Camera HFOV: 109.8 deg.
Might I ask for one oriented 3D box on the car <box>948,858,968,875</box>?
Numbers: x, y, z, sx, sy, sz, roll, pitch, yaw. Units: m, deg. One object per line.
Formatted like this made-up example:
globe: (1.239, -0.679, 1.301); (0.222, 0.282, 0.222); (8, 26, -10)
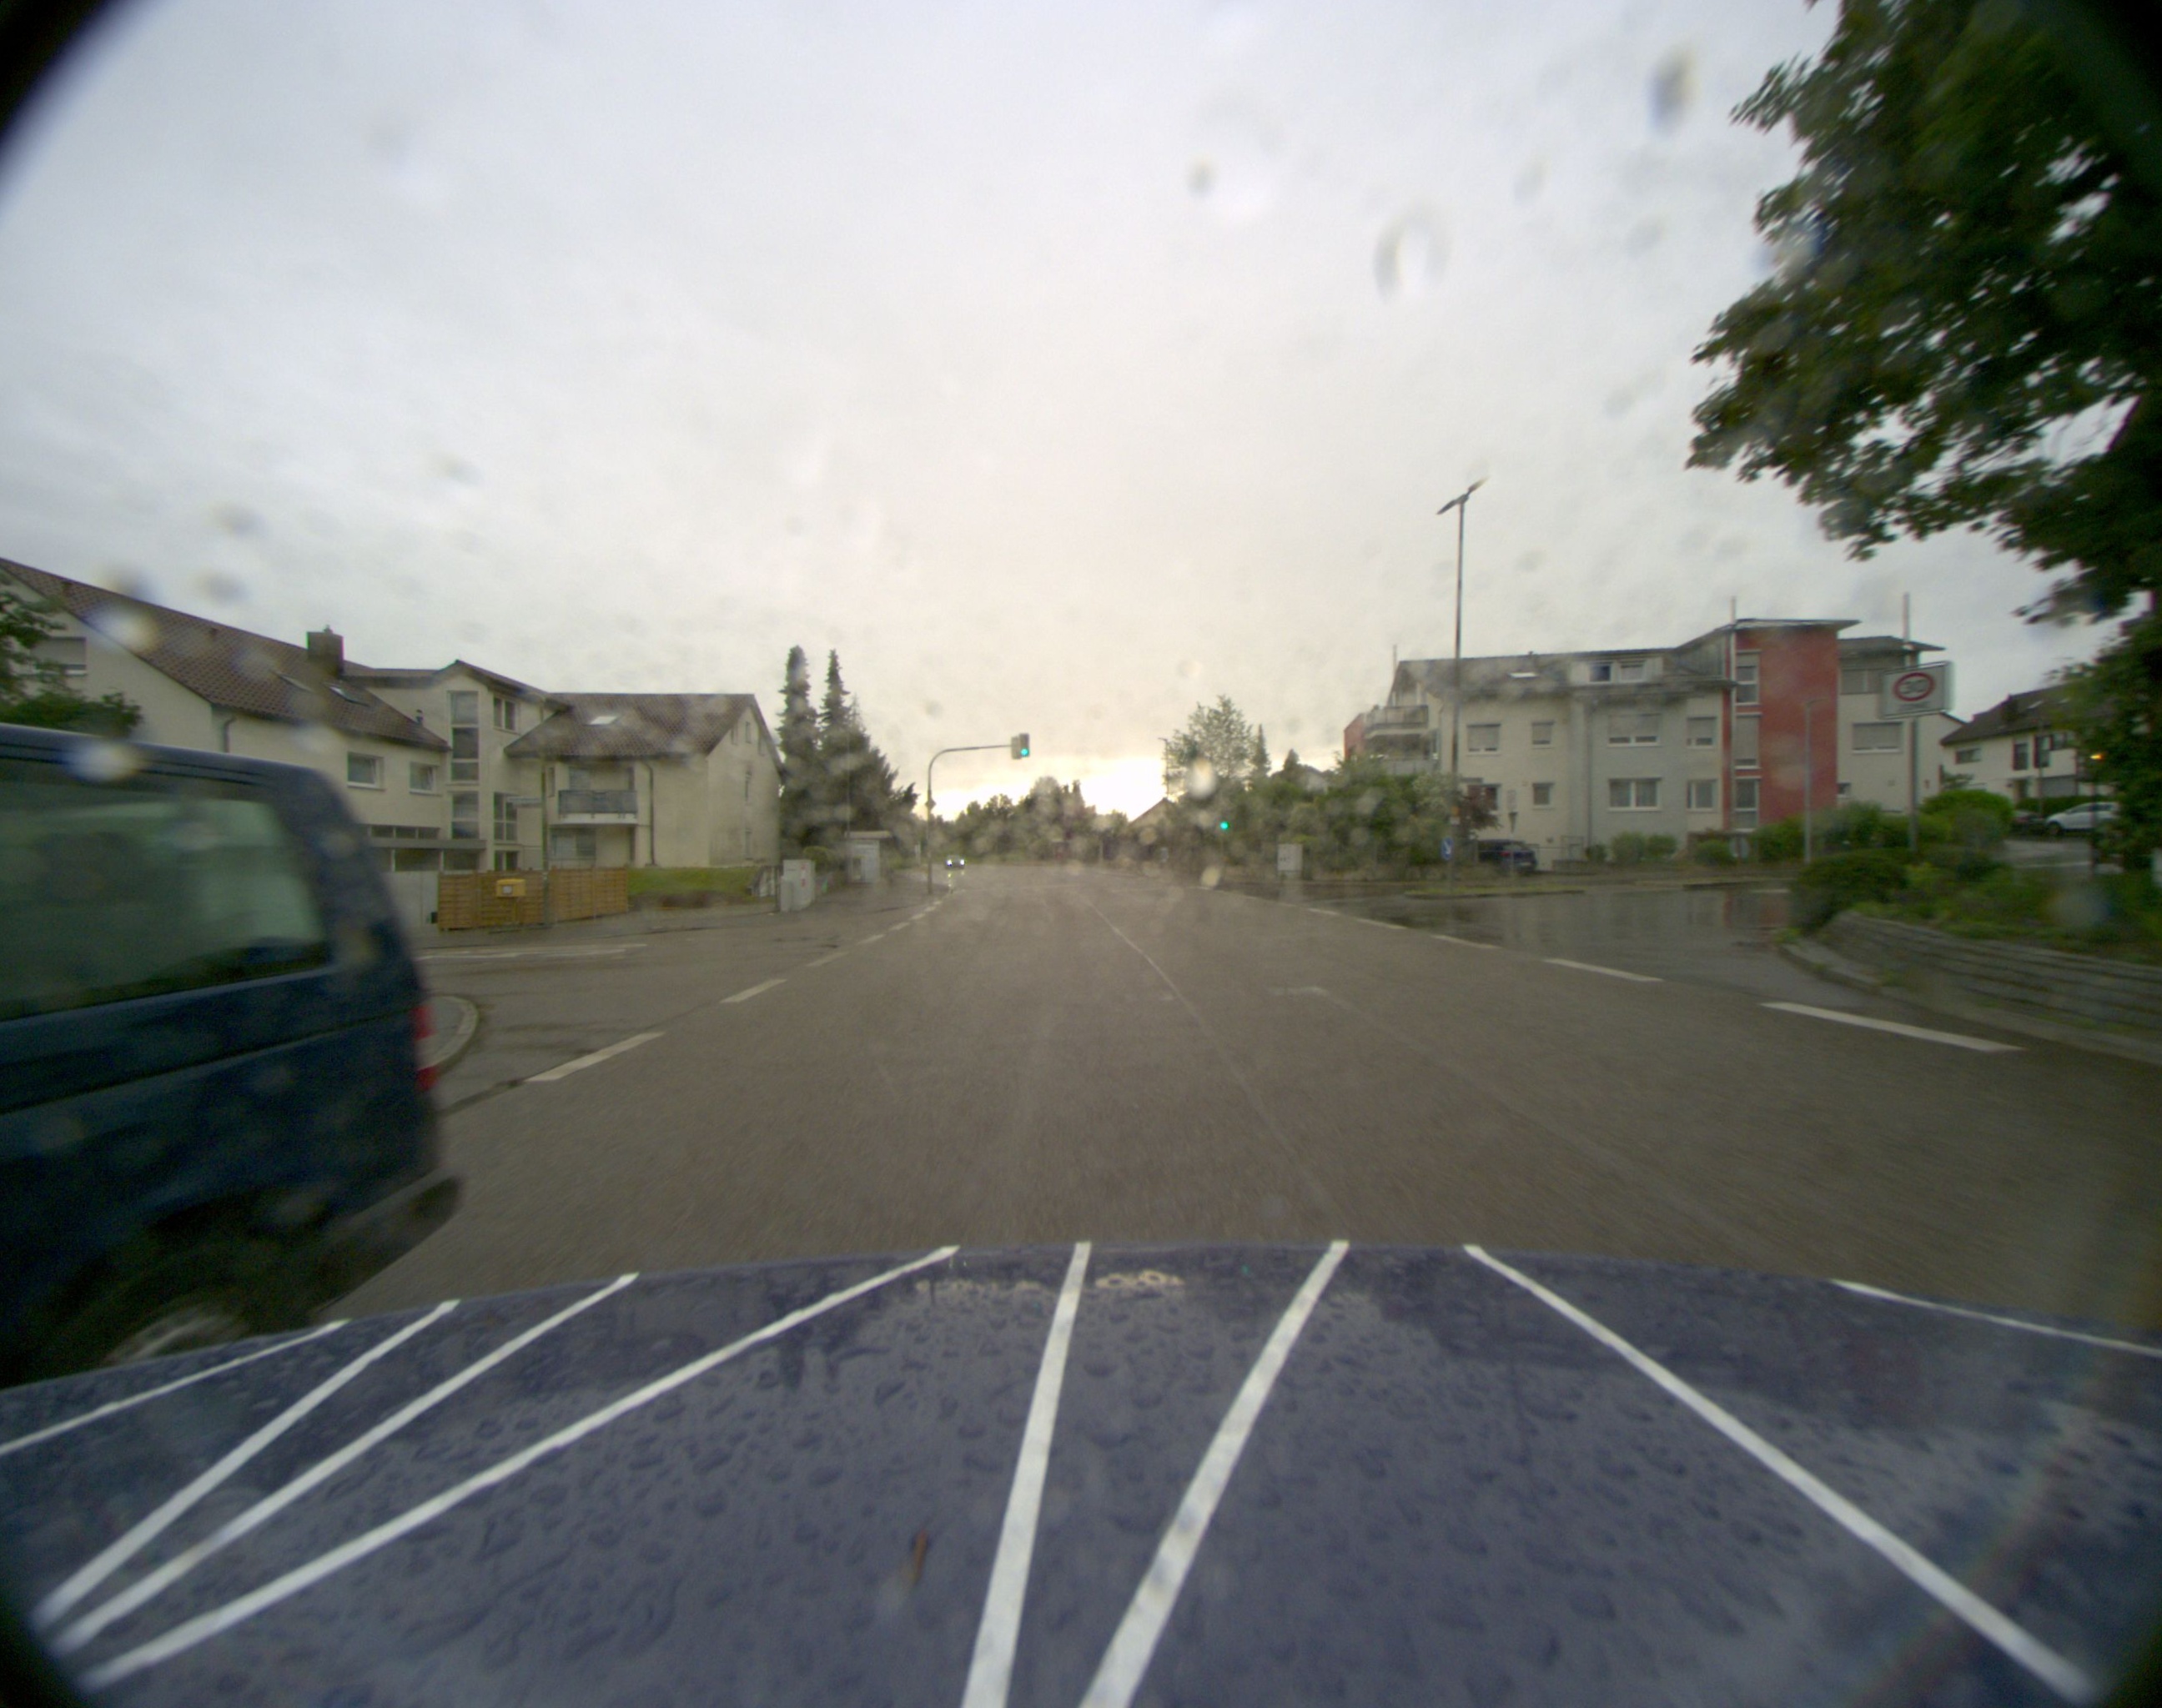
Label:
car: (-13.355, 1.332, 82.560); (2.000, 1.831, 3.997); (-1, 0, -9)

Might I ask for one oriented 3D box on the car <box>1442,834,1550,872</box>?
car: (16.528, -0.045, 30.477); (1.779, 1.413, 3.621); (-1, 1, -16)

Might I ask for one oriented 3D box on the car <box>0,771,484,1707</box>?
car: (-3.123, 0.834, 0.229); (1.935, 1.891, 4.793); (-2, 1, 1)
